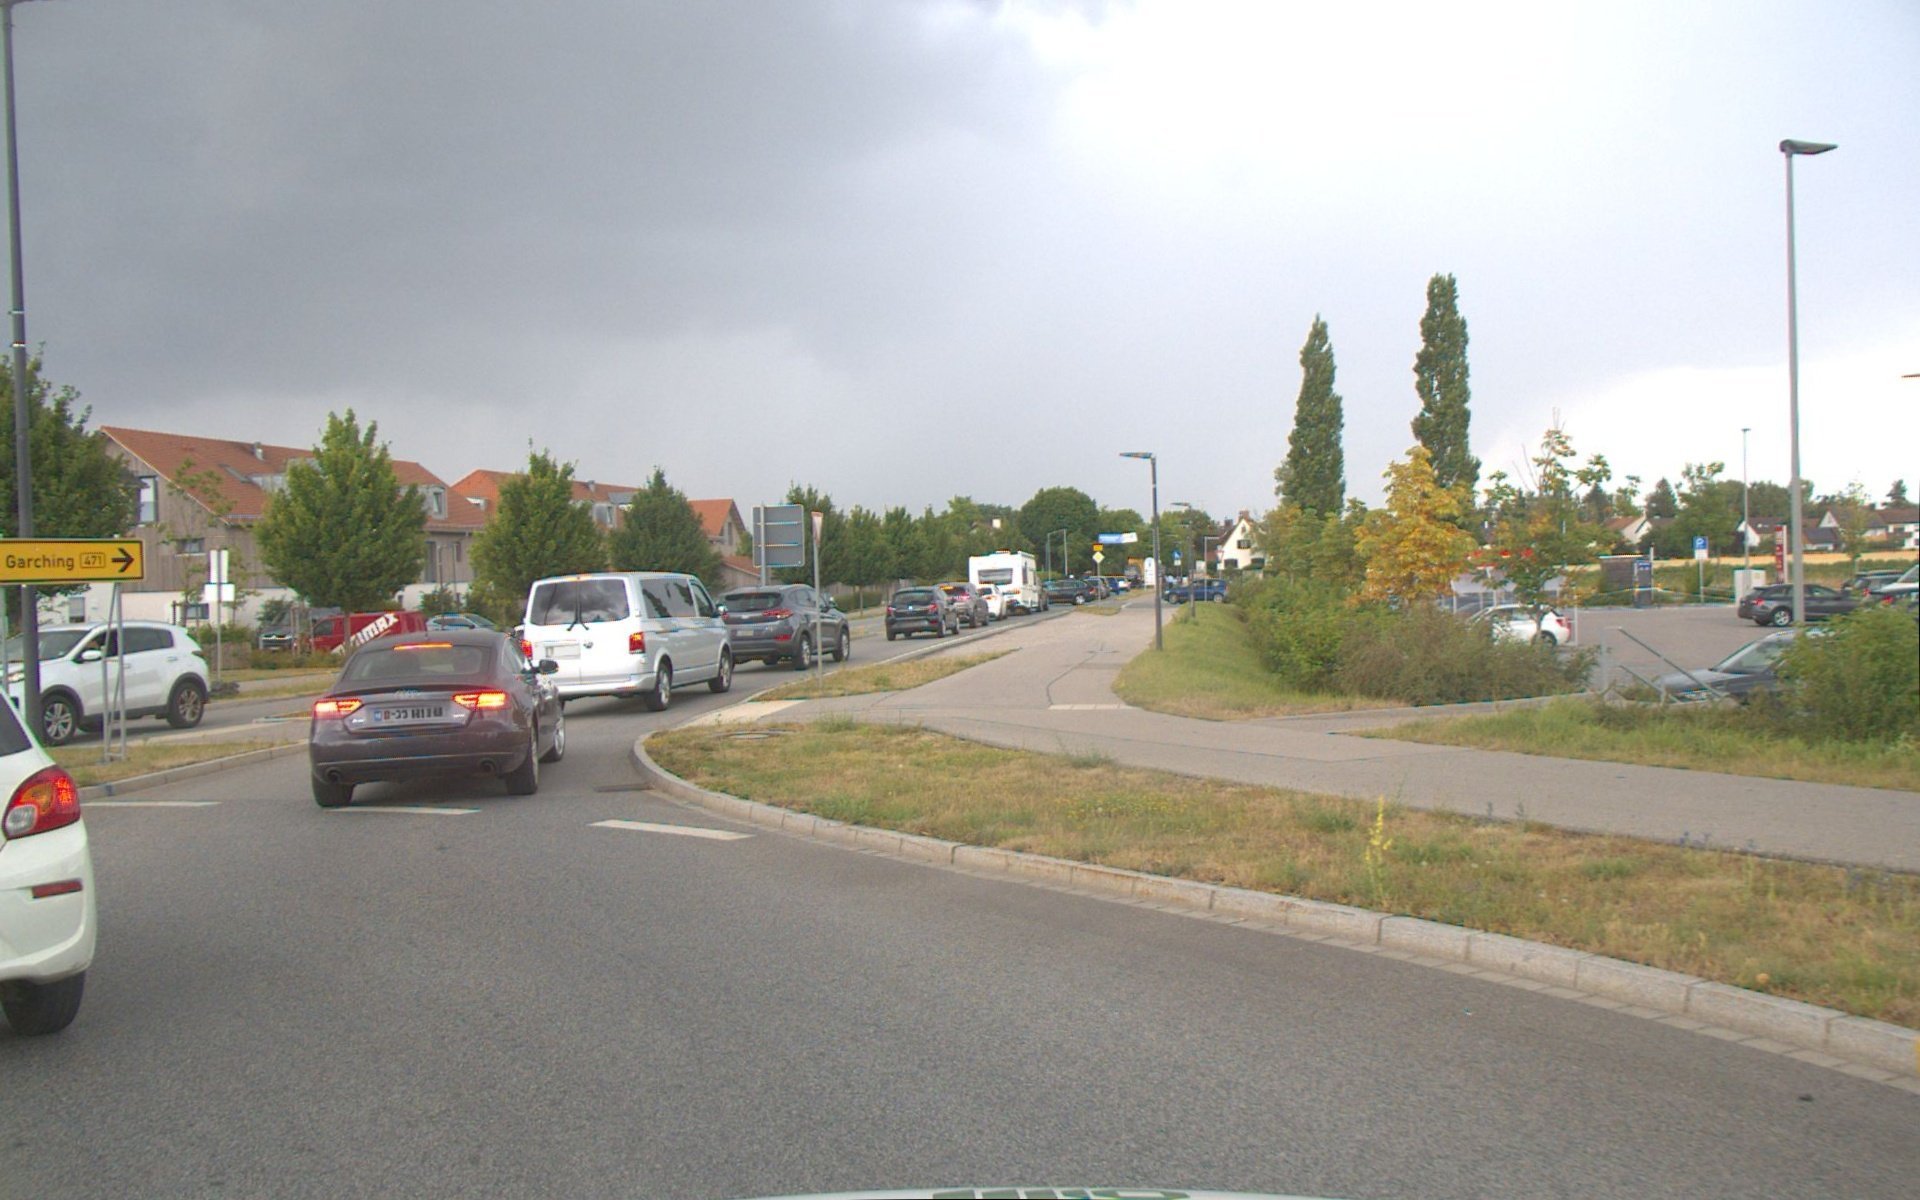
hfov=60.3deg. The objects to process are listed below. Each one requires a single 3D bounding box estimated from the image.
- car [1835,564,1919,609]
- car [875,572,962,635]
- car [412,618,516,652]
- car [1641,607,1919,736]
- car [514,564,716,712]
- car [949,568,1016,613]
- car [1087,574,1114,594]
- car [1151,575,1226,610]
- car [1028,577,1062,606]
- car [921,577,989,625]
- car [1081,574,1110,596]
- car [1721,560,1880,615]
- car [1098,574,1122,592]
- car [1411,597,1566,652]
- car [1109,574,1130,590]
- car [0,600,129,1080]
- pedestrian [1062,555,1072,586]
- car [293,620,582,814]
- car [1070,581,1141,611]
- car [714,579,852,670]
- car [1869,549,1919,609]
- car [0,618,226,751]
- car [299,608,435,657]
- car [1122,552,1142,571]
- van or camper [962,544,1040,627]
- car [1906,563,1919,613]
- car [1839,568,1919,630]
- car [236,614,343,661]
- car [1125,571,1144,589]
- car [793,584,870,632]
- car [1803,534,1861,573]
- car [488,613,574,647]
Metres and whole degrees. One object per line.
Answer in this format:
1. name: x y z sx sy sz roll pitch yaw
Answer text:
1. car: 35.837 -0.550 62.794 4.220 1.605 1.769 -2 0 11
2. car: -1.136 0.079 47.309 1.739 1.646 4.004 -3 0 8
3. car: -21.293 1.509 71.130 3.831 1.338 1.844 -2 0 6
4. car: 12.847 1.078 25.565 3.905 1.634 1.792 -2 6 0
5. car: -4.989 0.517 24.485 1.828 1.968 4.002 -1 0 5
6. car: 0.909 -0.358 64.029 1.951 1.624 4.004 -2 0 10
7. car: 10.897 -1.244 128.184 1.806 1.461 4.004 -1 1 8
8. car: 13.036 -0.423 94.421 3.911 1.825 1.616 -2 0 29
9. car: 6.131 -0.636 118.535 1.951 2.049 4.004 -1 1 10
10. car: -0.134 0.021 55.177 1.739 1.459 3.805 -3 0 7
11. car: 9.677 -1.065 117.818 1.806 1.461 4.004 -1 1 8
12. car: 29.155 -0.440 57.487 4.459 1.693 2.002 -2 1 9
13. car: 12.813 -1.465 141.369 1.806 1.461 4.004 -1 1 8
14. car: 15.814 0.729 49.691 4.142 1.465 2.002 -2 0 9
15. car: 15.380 -1.773 159.748 1.806 1.461 4.004 -1 1 8
16. car: -4.578 0.816 6.243 1.621 1.545 3.343 -1 0 -45
17. pedestrian: 7.251 -2.011 111.954 0.566 2.049 0.682 1 1 15
18. car: -4.546 0.933 14.988 1.750 1.416 4.126 -1 0 -7
19. car: 8.242 -0.251 93.546 3.902 1.646 2.002 1 1 8
20. car: -3.509 0.438 33.446 1.738 1.646 4.004 -2 1 9
21. car: 36.100 -0.838 60.134 5.005 2.048 2.000 -3 2 -2
22. car: -12.785 1.141 23.858 1.672 1.654 4.454 -1 0 13
23. car: -22.377 1.208 62.458 4.433 1.709 2.002 -2 0 12
24. car: 21.780 -4.887 209.658 1.951 2.250 4.004 -2 1 13
25. van or camper: 1.875 -0.595 72.487 2.569 3.381 6.827 -2 0 8
26. car: 35.013 -0.475 56.883 3.902 1.735 1.717 -2 0 8
27. car: 28.543 -0.080 48.619 4.310 1.693 2.002 -2 1 9
28. car: -28.748 1.598 71.047 1.951 1.803 4.469 -2 0 14
29. car: 19.164 -2.184 181.760 1.951 1.870 4.003 -1 1 7
30. car: -4.182 0.240 54.442 1.739 1.459 3.805 -3 0 7
31. car: 47.870 -2.533 90.858 1.951 2.049 4.003 1 1 15
32. car: -20.925 1.458 80.693 3.650 1.507 1.688 -2 1 6
